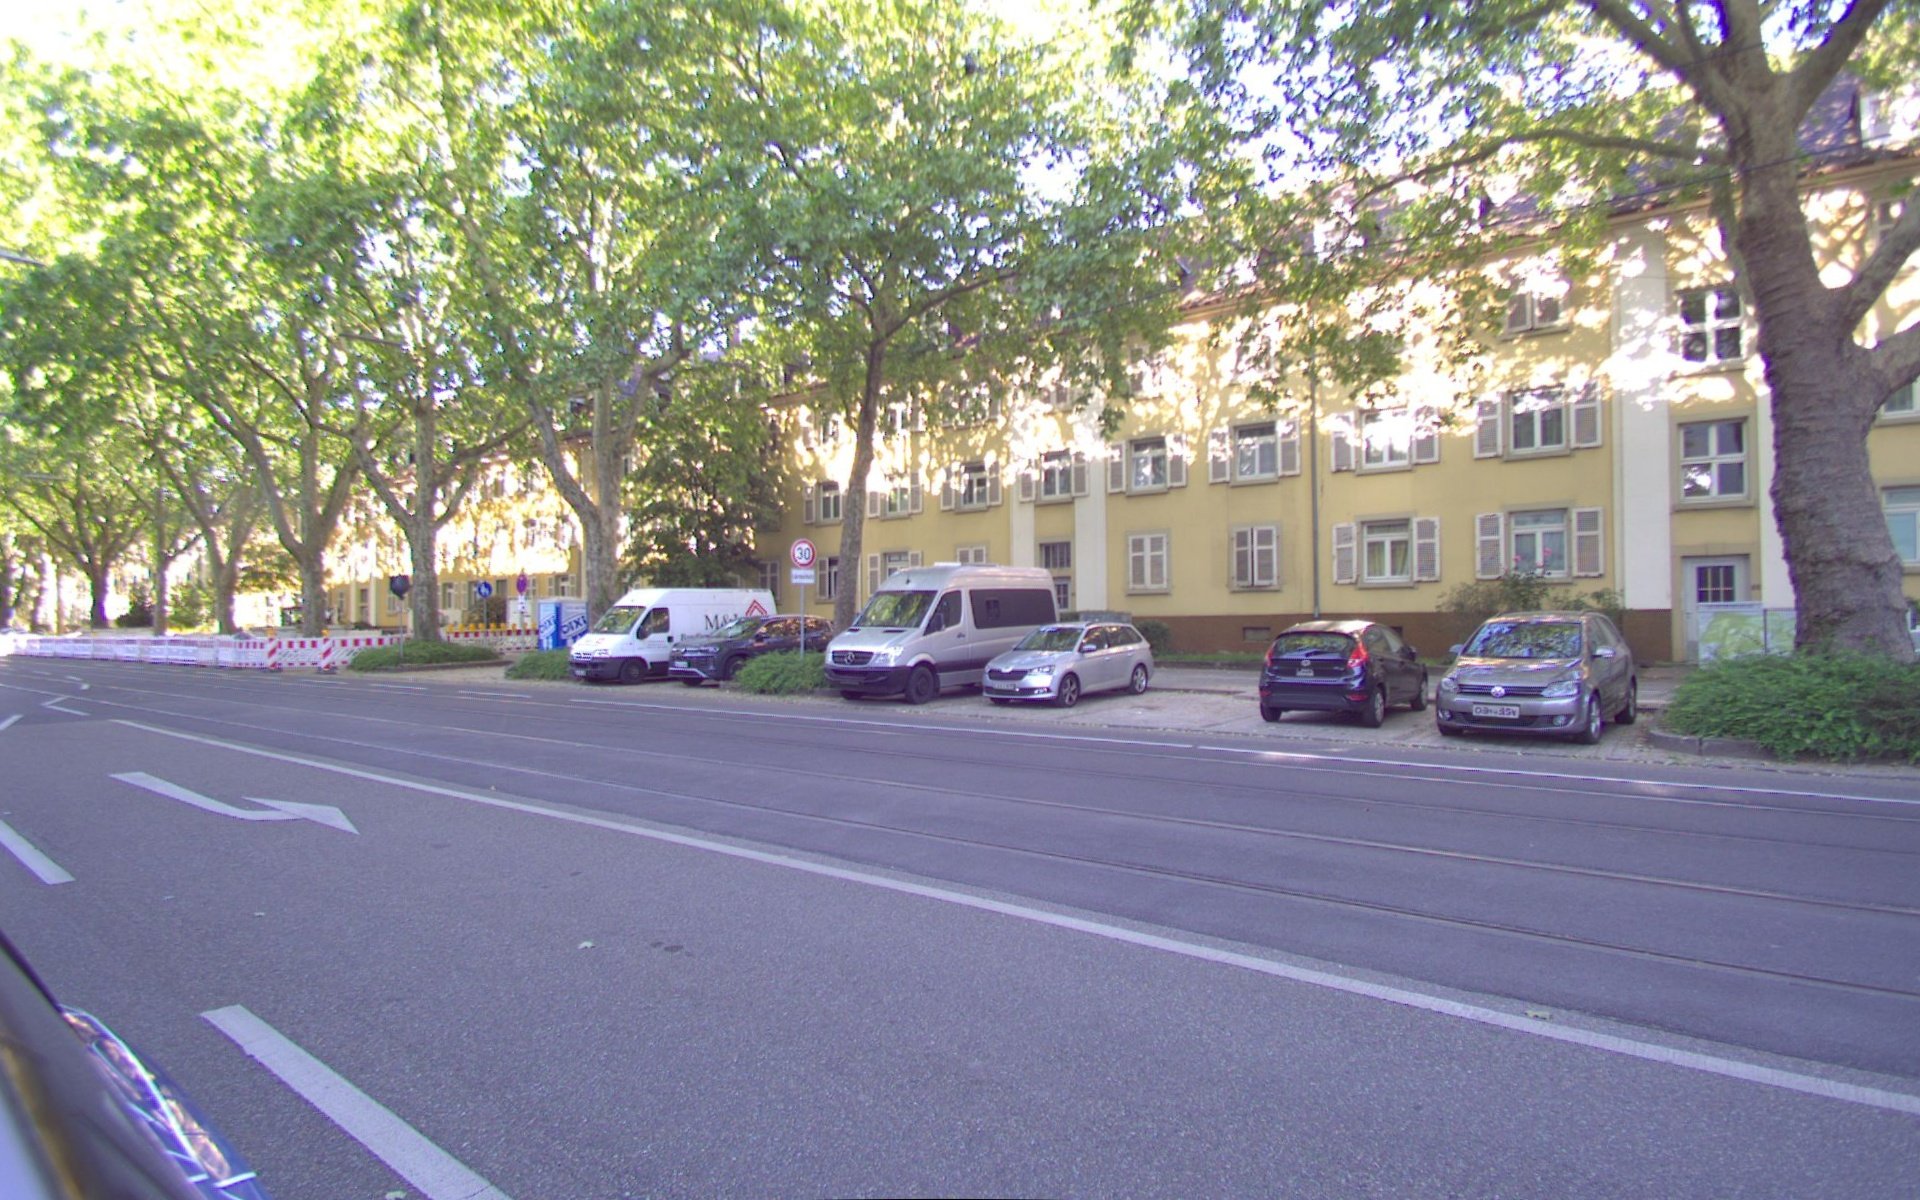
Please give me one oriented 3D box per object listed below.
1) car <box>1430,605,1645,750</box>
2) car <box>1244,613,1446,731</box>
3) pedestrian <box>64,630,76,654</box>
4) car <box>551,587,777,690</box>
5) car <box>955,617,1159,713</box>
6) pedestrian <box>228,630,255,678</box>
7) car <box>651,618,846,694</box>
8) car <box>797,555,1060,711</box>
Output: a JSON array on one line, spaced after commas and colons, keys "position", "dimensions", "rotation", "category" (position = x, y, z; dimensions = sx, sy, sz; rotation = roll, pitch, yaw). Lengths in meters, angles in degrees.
[{"position": [7.732, 0.894, 13.372], "dimensions": [1.672, 1.592, 3.928], "rotation": [-2, -1, 41], "category": "car"}, {"position": [5.954, 0.996, 15.423], "dimensions": [1.671, 1.509, 3.756], "rotation": [-2, -1, 41], "category": "car"}, {"position": [-72.715, 3.405, 82.708], "dimensions": [0.722, 1.900, 0.666], "rotation": [-1, 0, -42], "category": "pedestrian"}, {"position": [-7.573, 0.958, 26.378], "dimensions": [2.222, 2.394, 5.336], "rotation": [-2, -2, 40], "category": "car"}, {"position": [1.900, 1.116, 18.840], "dimensions": [1.773, 1.509, 4.031], "rotation": [-2, -1, 41], "category": "car"}, {"position": [-26.838, 1.995, 37.783], "dimensions": [0.581, 1.759, 0.645], "rotation": [-1, 0, 32], "category": "pedestrian"}, {"position": [-4.990, 1.270, 24.452], "dimensions": [1.772, 1.664, 4.570], "rotation": [-2, -2, 38], "category": "car"}, {"position": [-0.438, 0.603, 20.451], "dimensions": [2.221, 2.702, 5.596], "rotation": [-2, -1, 38], "category": "car"}]
